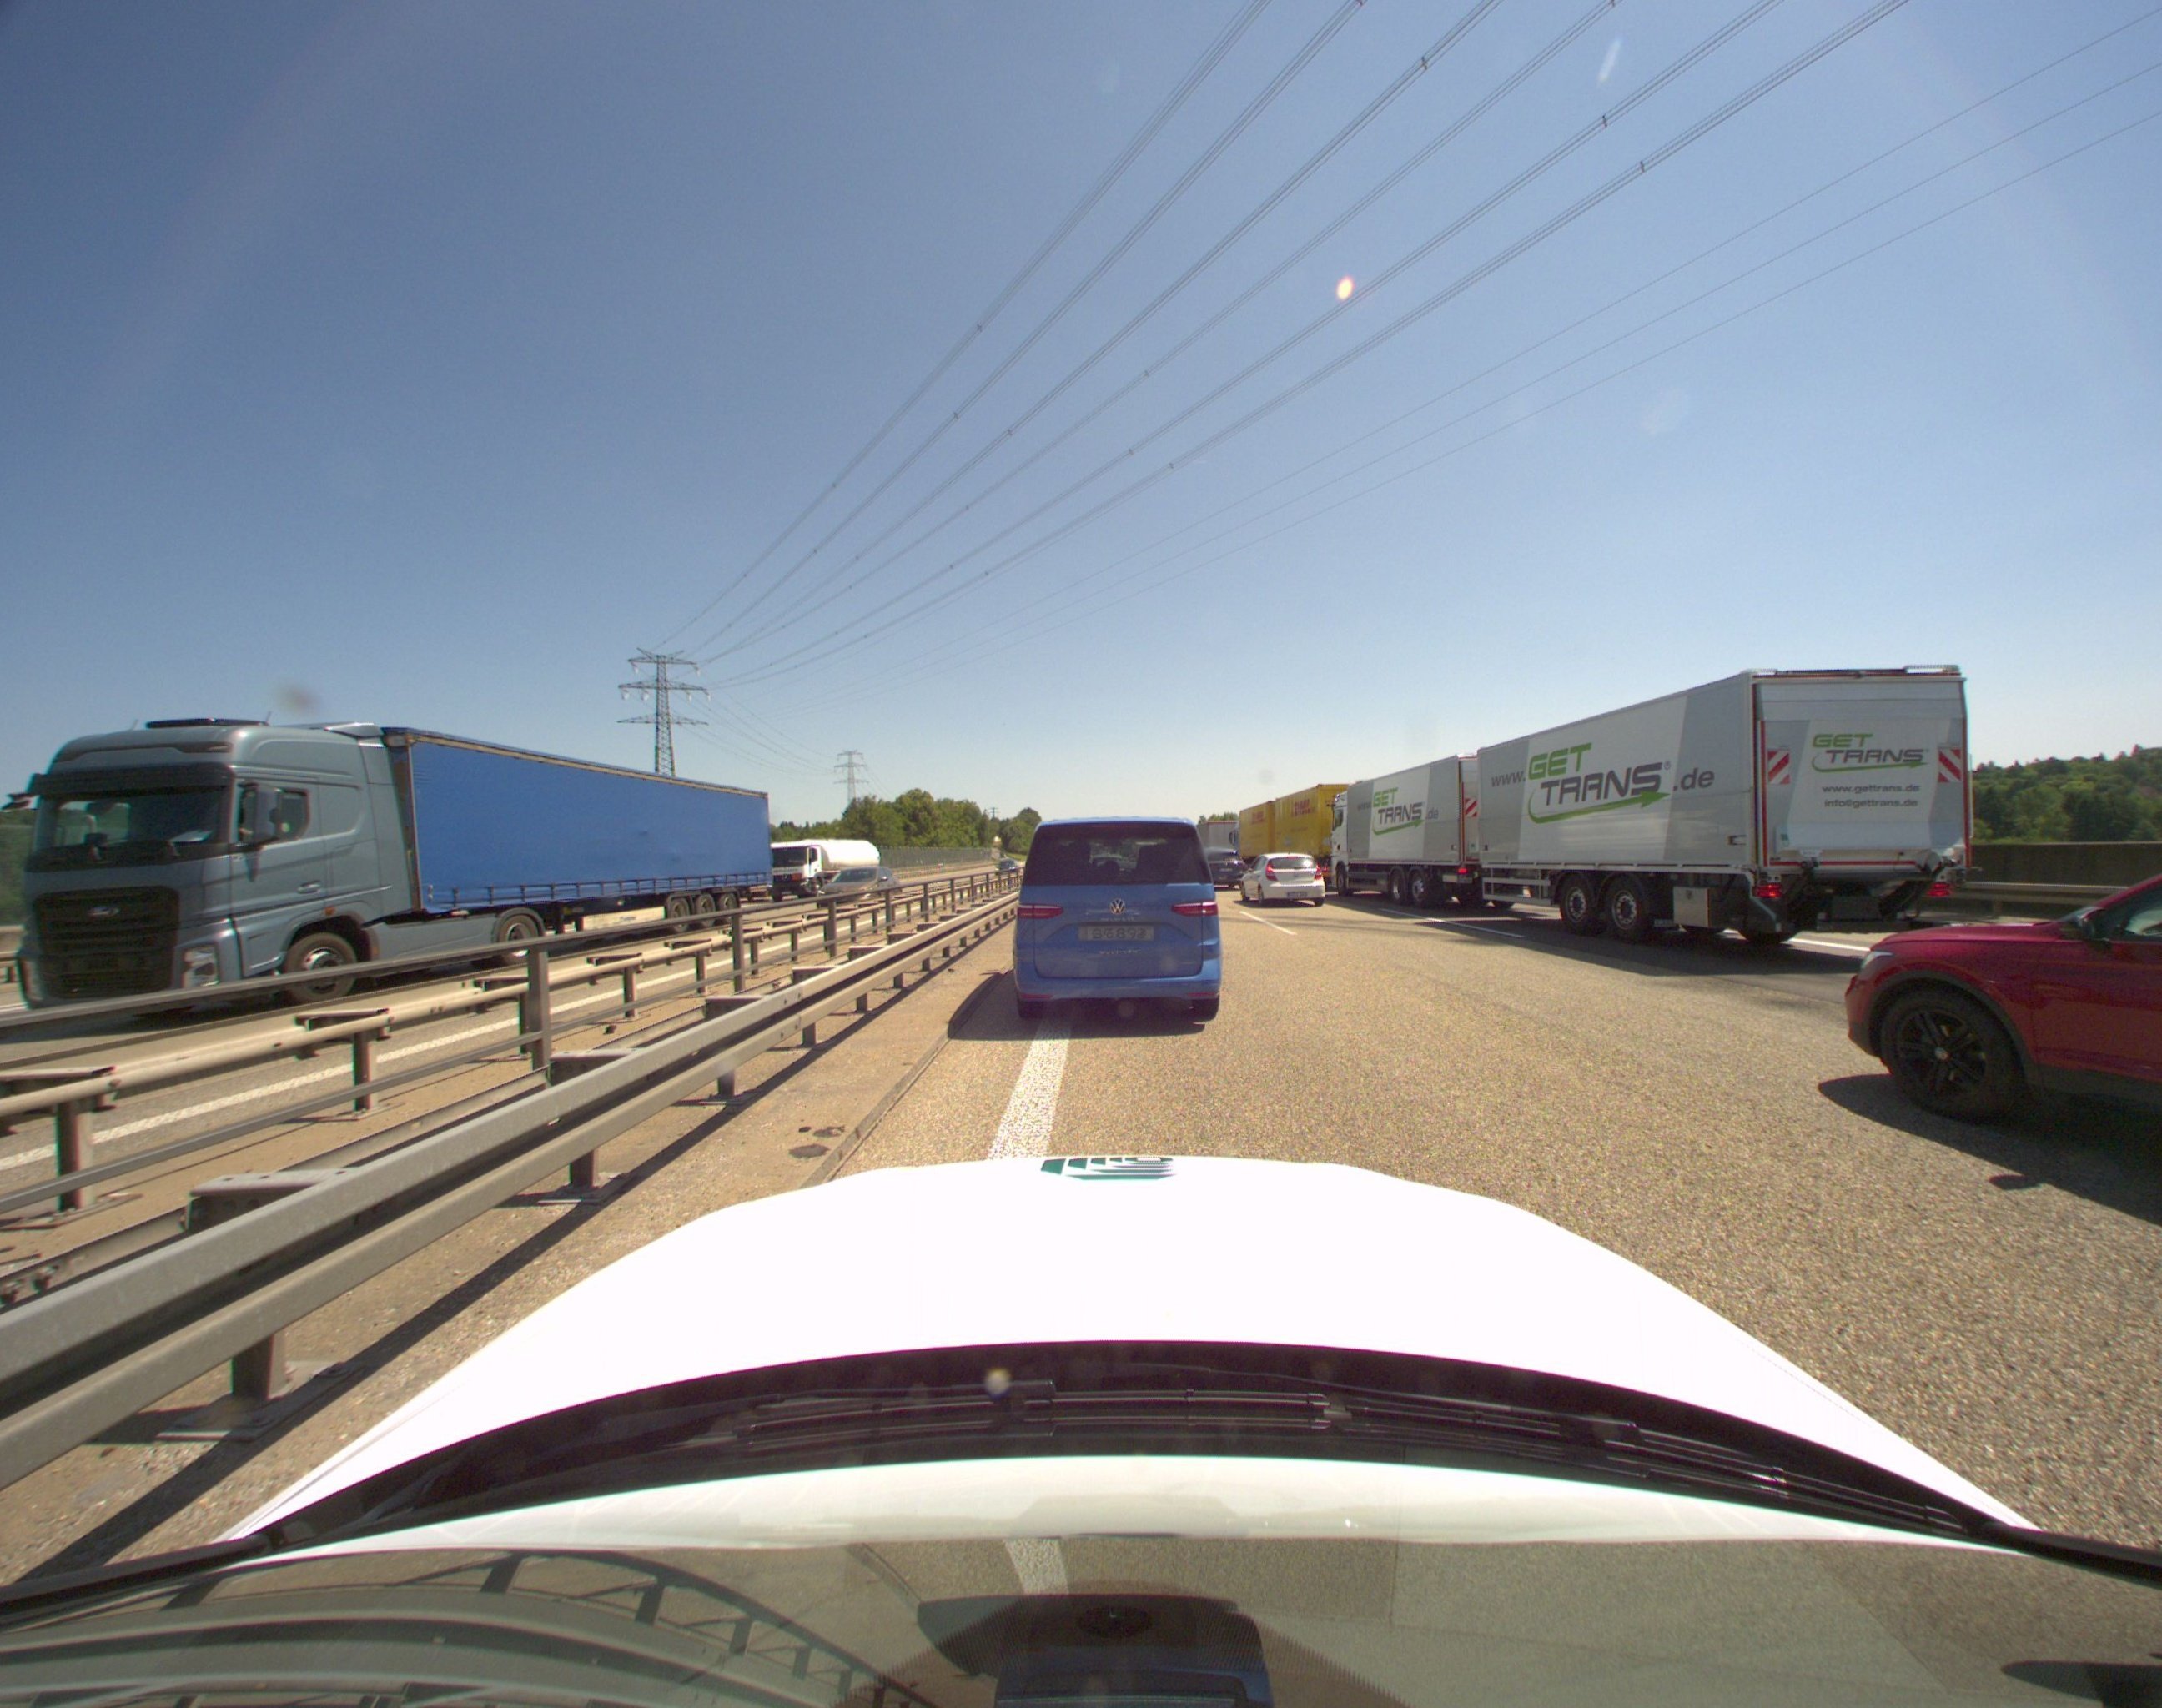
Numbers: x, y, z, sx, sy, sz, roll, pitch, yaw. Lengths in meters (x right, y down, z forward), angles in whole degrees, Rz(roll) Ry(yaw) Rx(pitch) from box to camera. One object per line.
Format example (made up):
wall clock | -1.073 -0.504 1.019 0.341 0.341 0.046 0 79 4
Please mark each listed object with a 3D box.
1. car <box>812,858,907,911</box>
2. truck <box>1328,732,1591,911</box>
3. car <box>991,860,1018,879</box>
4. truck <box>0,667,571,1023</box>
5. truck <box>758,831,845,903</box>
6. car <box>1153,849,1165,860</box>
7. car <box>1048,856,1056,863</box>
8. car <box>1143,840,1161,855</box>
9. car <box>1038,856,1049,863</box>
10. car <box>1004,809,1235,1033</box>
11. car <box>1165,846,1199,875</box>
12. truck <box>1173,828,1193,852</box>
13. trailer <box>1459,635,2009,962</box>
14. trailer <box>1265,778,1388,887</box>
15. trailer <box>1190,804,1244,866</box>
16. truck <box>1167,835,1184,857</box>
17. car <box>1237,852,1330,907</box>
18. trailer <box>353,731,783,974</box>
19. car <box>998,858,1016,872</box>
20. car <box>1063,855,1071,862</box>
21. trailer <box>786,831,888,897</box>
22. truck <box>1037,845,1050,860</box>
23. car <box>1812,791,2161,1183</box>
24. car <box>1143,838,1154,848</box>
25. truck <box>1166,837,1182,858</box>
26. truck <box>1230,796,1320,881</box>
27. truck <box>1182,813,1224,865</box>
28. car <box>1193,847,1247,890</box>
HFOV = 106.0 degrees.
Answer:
car | -6.979 0.936 26.130 1.875 1.552 4.189 0 -1 0
truck | 9.952 -0.657 23.293 2.841 3.934 10.613 0 -1 2
car | -6.469 1.334 69.075 1.875 1.552 4.189 0 -1 0
truck | -11.467 -0.072 12.776 2.743 4.116 6.267 -2 -1 2
truck | -14.975 0.678 44.023 2.510 3.535 5.333 -3 -1 2
car | 12.748 0.170 133.085 1.790 1.751 3.945 0 -1 2
car | -7.716 1.542 214.932 1.833 1.822 4.748 -2 -1 1
car | 8.458 -0.714 96.892 1.912 1.706 4.001 0 -1 2
car | -8.418 1.164 183.163 1.865 1.442 4.386 -3 -1 1
car | 0.388 0.584 8.824 1.923 1.874 4.001 0 -1 2
car | 6.816 0.442 55.529 1.955 1.936 3.933 0 -1 2
truck | 11.252 -1.515 90.220 1.791 2.449 4.506 0 -1 2
trailer | 9.690 -0.616 13.829 2.888 3.891 8.216 0 -1 2
trailer | 10.254 -0.777 35.101 2.673 4.088 8.980 0 -1 1
trailer | 10.990 -1.382 67.062 3.014 4.611 10.930 0 -1 2
truck | 11.483 -0.916 99.222 1.735 2.549 4.212 0 -1 2
car | 5.841 0.699 23.898 1.809 1.470 3.932 0 -1 1
trailer | -11.255 0.038 20.366 2.694 4.165 12.052 -3 -1 1
car | -9.285 1.390 102.343 1.800 1.640 4.000 -3 -1 1
car | -3.954 1.276 231.365 1.865 1.530 3.609 -7 -1 1
trailer | -14.732 0.597 50.294 2.489 3.540 10.909 -3 -1 2
truck | -11.256 -0.425 245.250 2.917 4.293 6.862 -4 -1 3
car | 5.462 0.565 3.080 1.701 1.679 4.288 0 -1 3
car | 12.352 -2.025 148.783 1.790 1.751 3.945 0 -1 2
truck | 11.894 -0.780 104.249 1.790 2.596 4.307 0 -1 2
truck | 10.344 -0.701 44.532 2.690 4.088 9.940 0 -1 1
truck | 11.375 -1.266 76.486 3.014 4.611 7.925 0 -1 2
car | 5.791 0.605 34.279 1.807 1.679 3.936 0 -1 4
